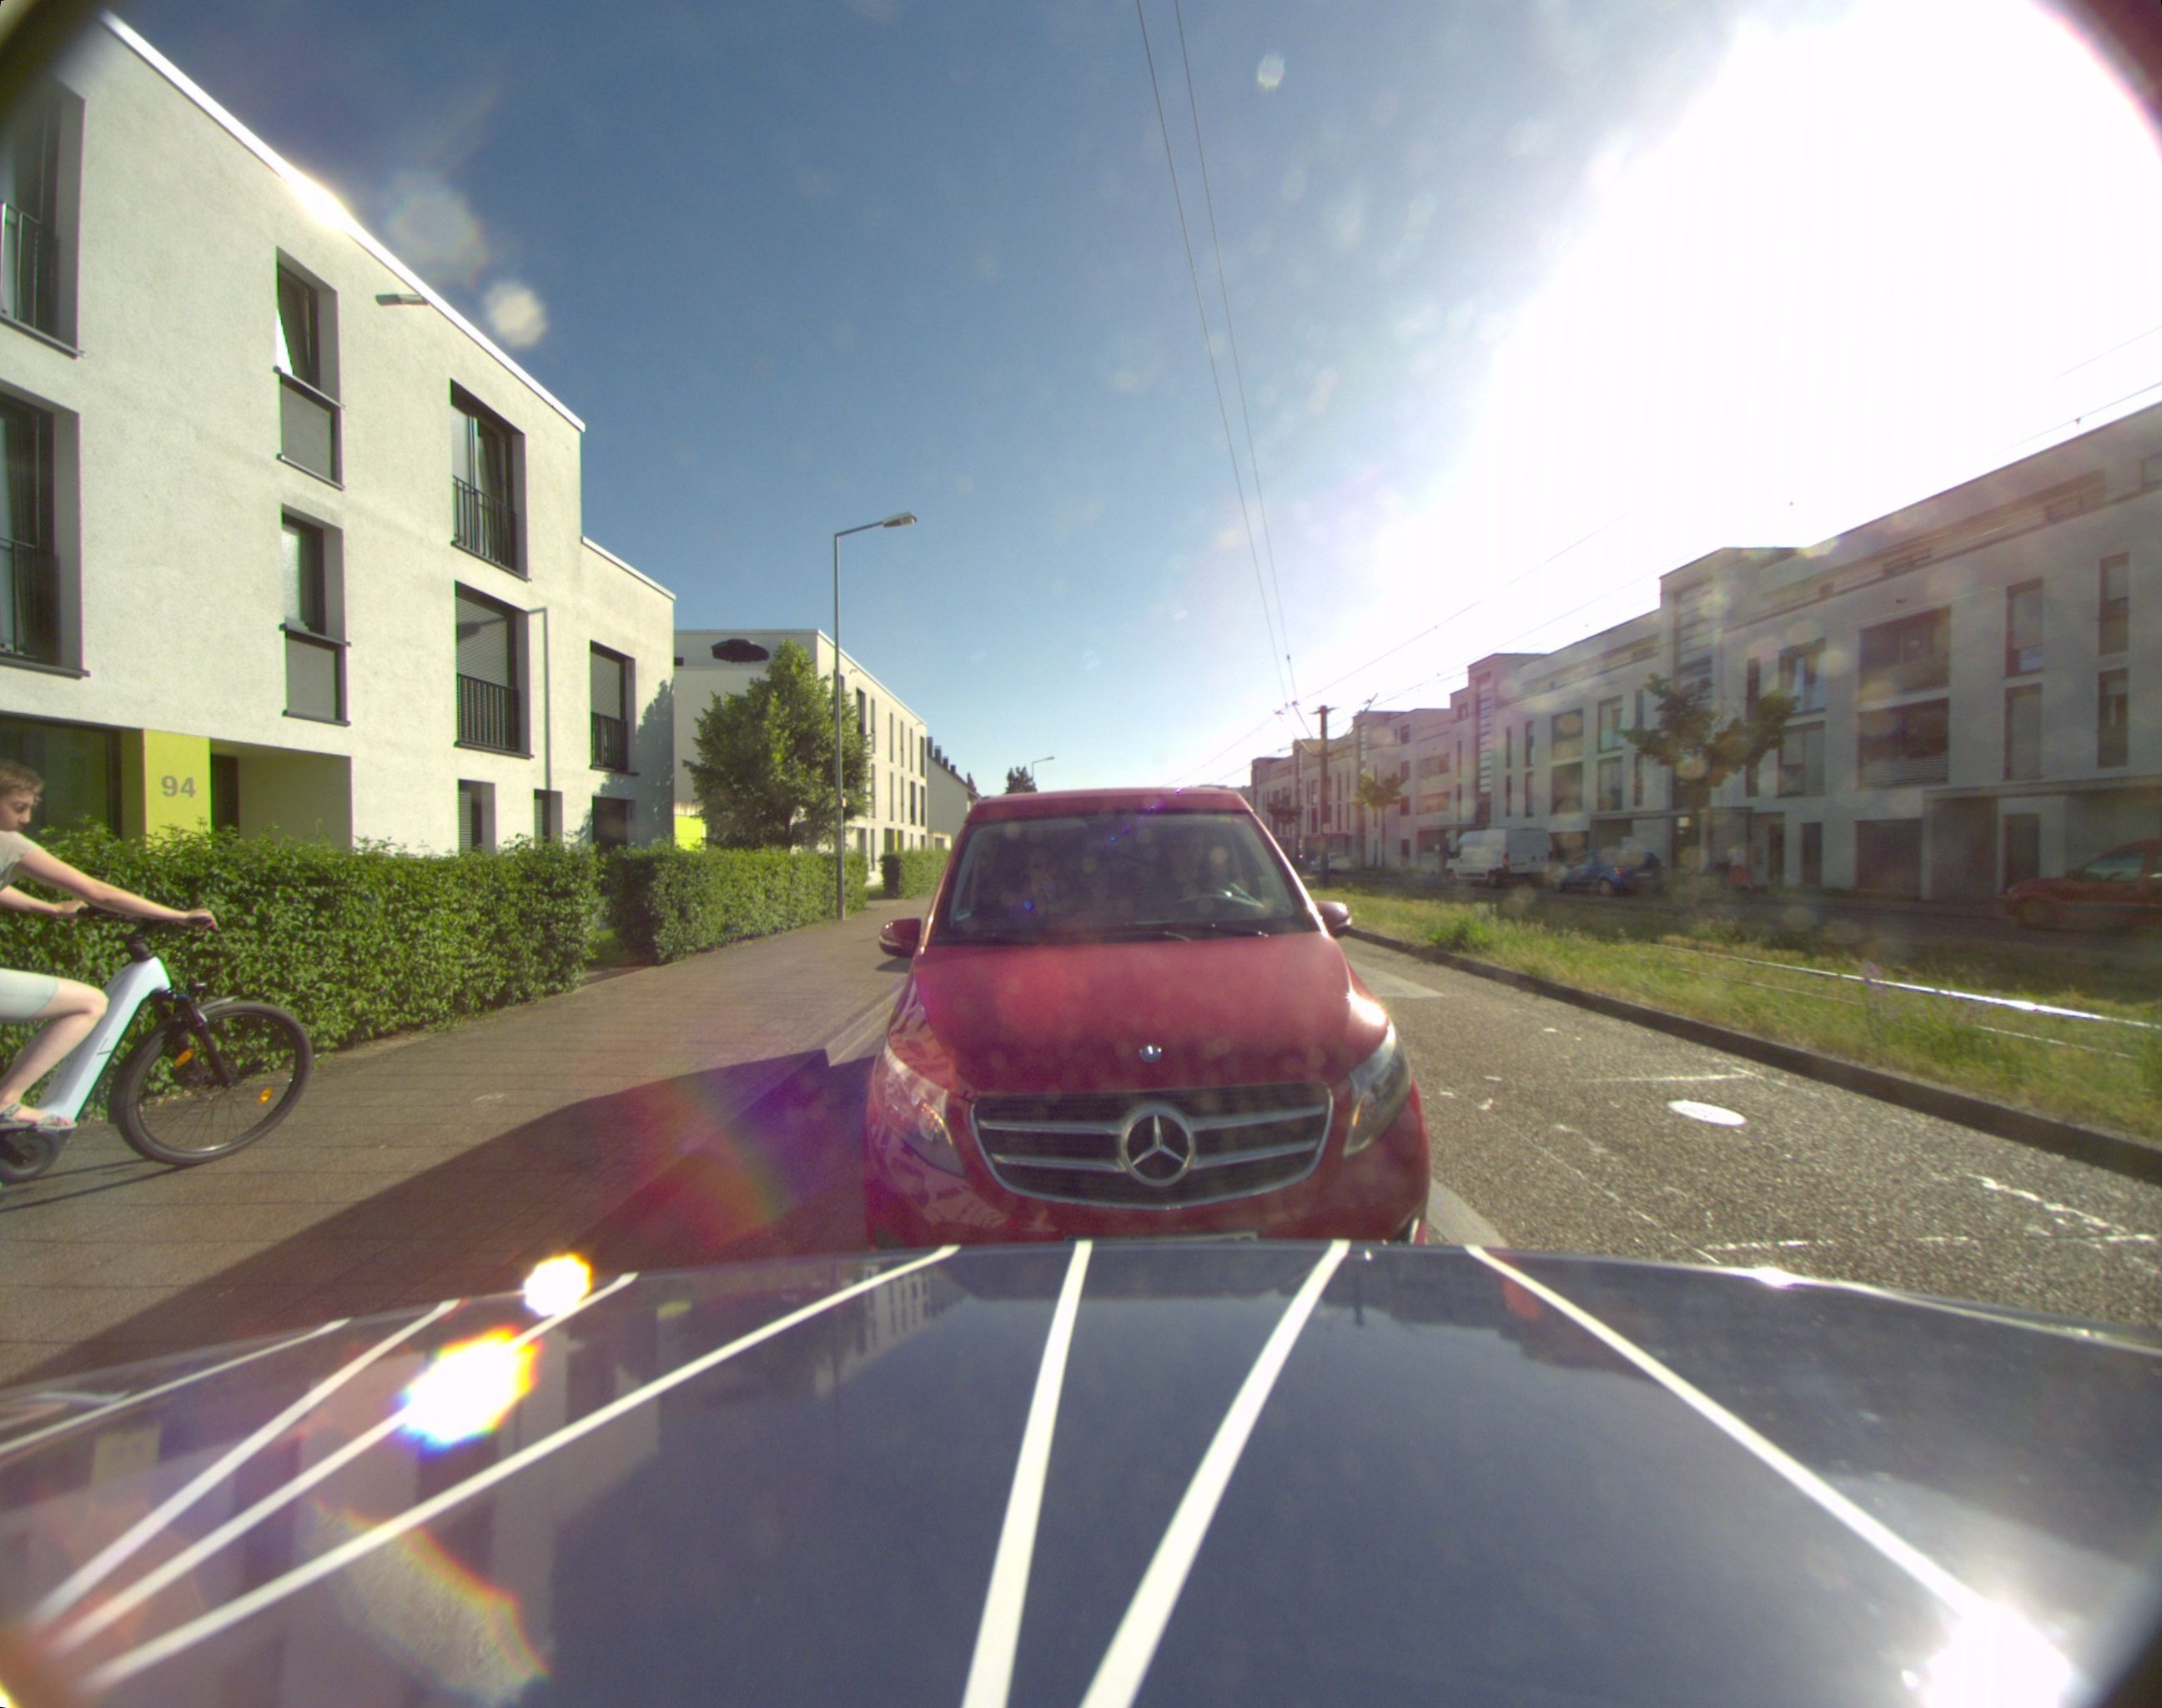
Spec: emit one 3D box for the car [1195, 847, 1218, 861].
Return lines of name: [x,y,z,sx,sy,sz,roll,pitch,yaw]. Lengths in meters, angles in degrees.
car: [15.473,-0.030,93.897,1.923,1.671,4.282,-2,1,-4]

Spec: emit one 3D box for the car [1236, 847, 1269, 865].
car: [16.718,0.140,74.345,1.923,1.671,4.282,-2,1,-4]

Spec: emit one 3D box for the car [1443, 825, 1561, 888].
car: [18.170,0.081,33.162,2.225,2.458,5.195,-2,1,0]

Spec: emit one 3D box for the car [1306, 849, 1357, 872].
car: [17.634,0.422,53.731,1.923,1.497,4.282,-2,1,-4]

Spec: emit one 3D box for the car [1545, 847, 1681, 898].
car: [18.377,0.582,26.490,1.999,1.536,3.835,-2,1,0]

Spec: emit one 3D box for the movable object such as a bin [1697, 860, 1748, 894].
movable object such as a bin: [20.994,0.731,24.887,0.729,1.048,1.083,-2,1,1]

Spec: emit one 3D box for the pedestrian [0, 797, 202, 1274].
pedestrian: [-4.048,0.602,2.659,0.913,1.585,0.854,0,1,-1]

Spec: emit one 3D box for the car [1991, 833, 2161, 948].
car: [18.618,0.585,12.799,1.998,1.817,3.895,-2,1,3]

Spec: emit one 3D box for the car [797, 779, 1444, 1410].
car: [0.153,0.707,4.533,1.874,1.843,4.506,-2,1,1]

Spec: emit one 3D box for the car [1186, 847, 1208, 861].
car: [15.186,-0.052,99.648,1.923,1.671,4.282,-2,1,-4]

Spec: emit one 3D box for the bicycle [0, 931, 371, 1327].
bicycle: [-4.045,0.985,2.277,0.931,1.166,3.124,0,1,-1]

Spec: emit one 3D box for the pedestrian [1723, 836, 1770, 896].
pedestrian: [20.956,0.364,23.945,0.776,1.812,0.785,-2,1,1]
